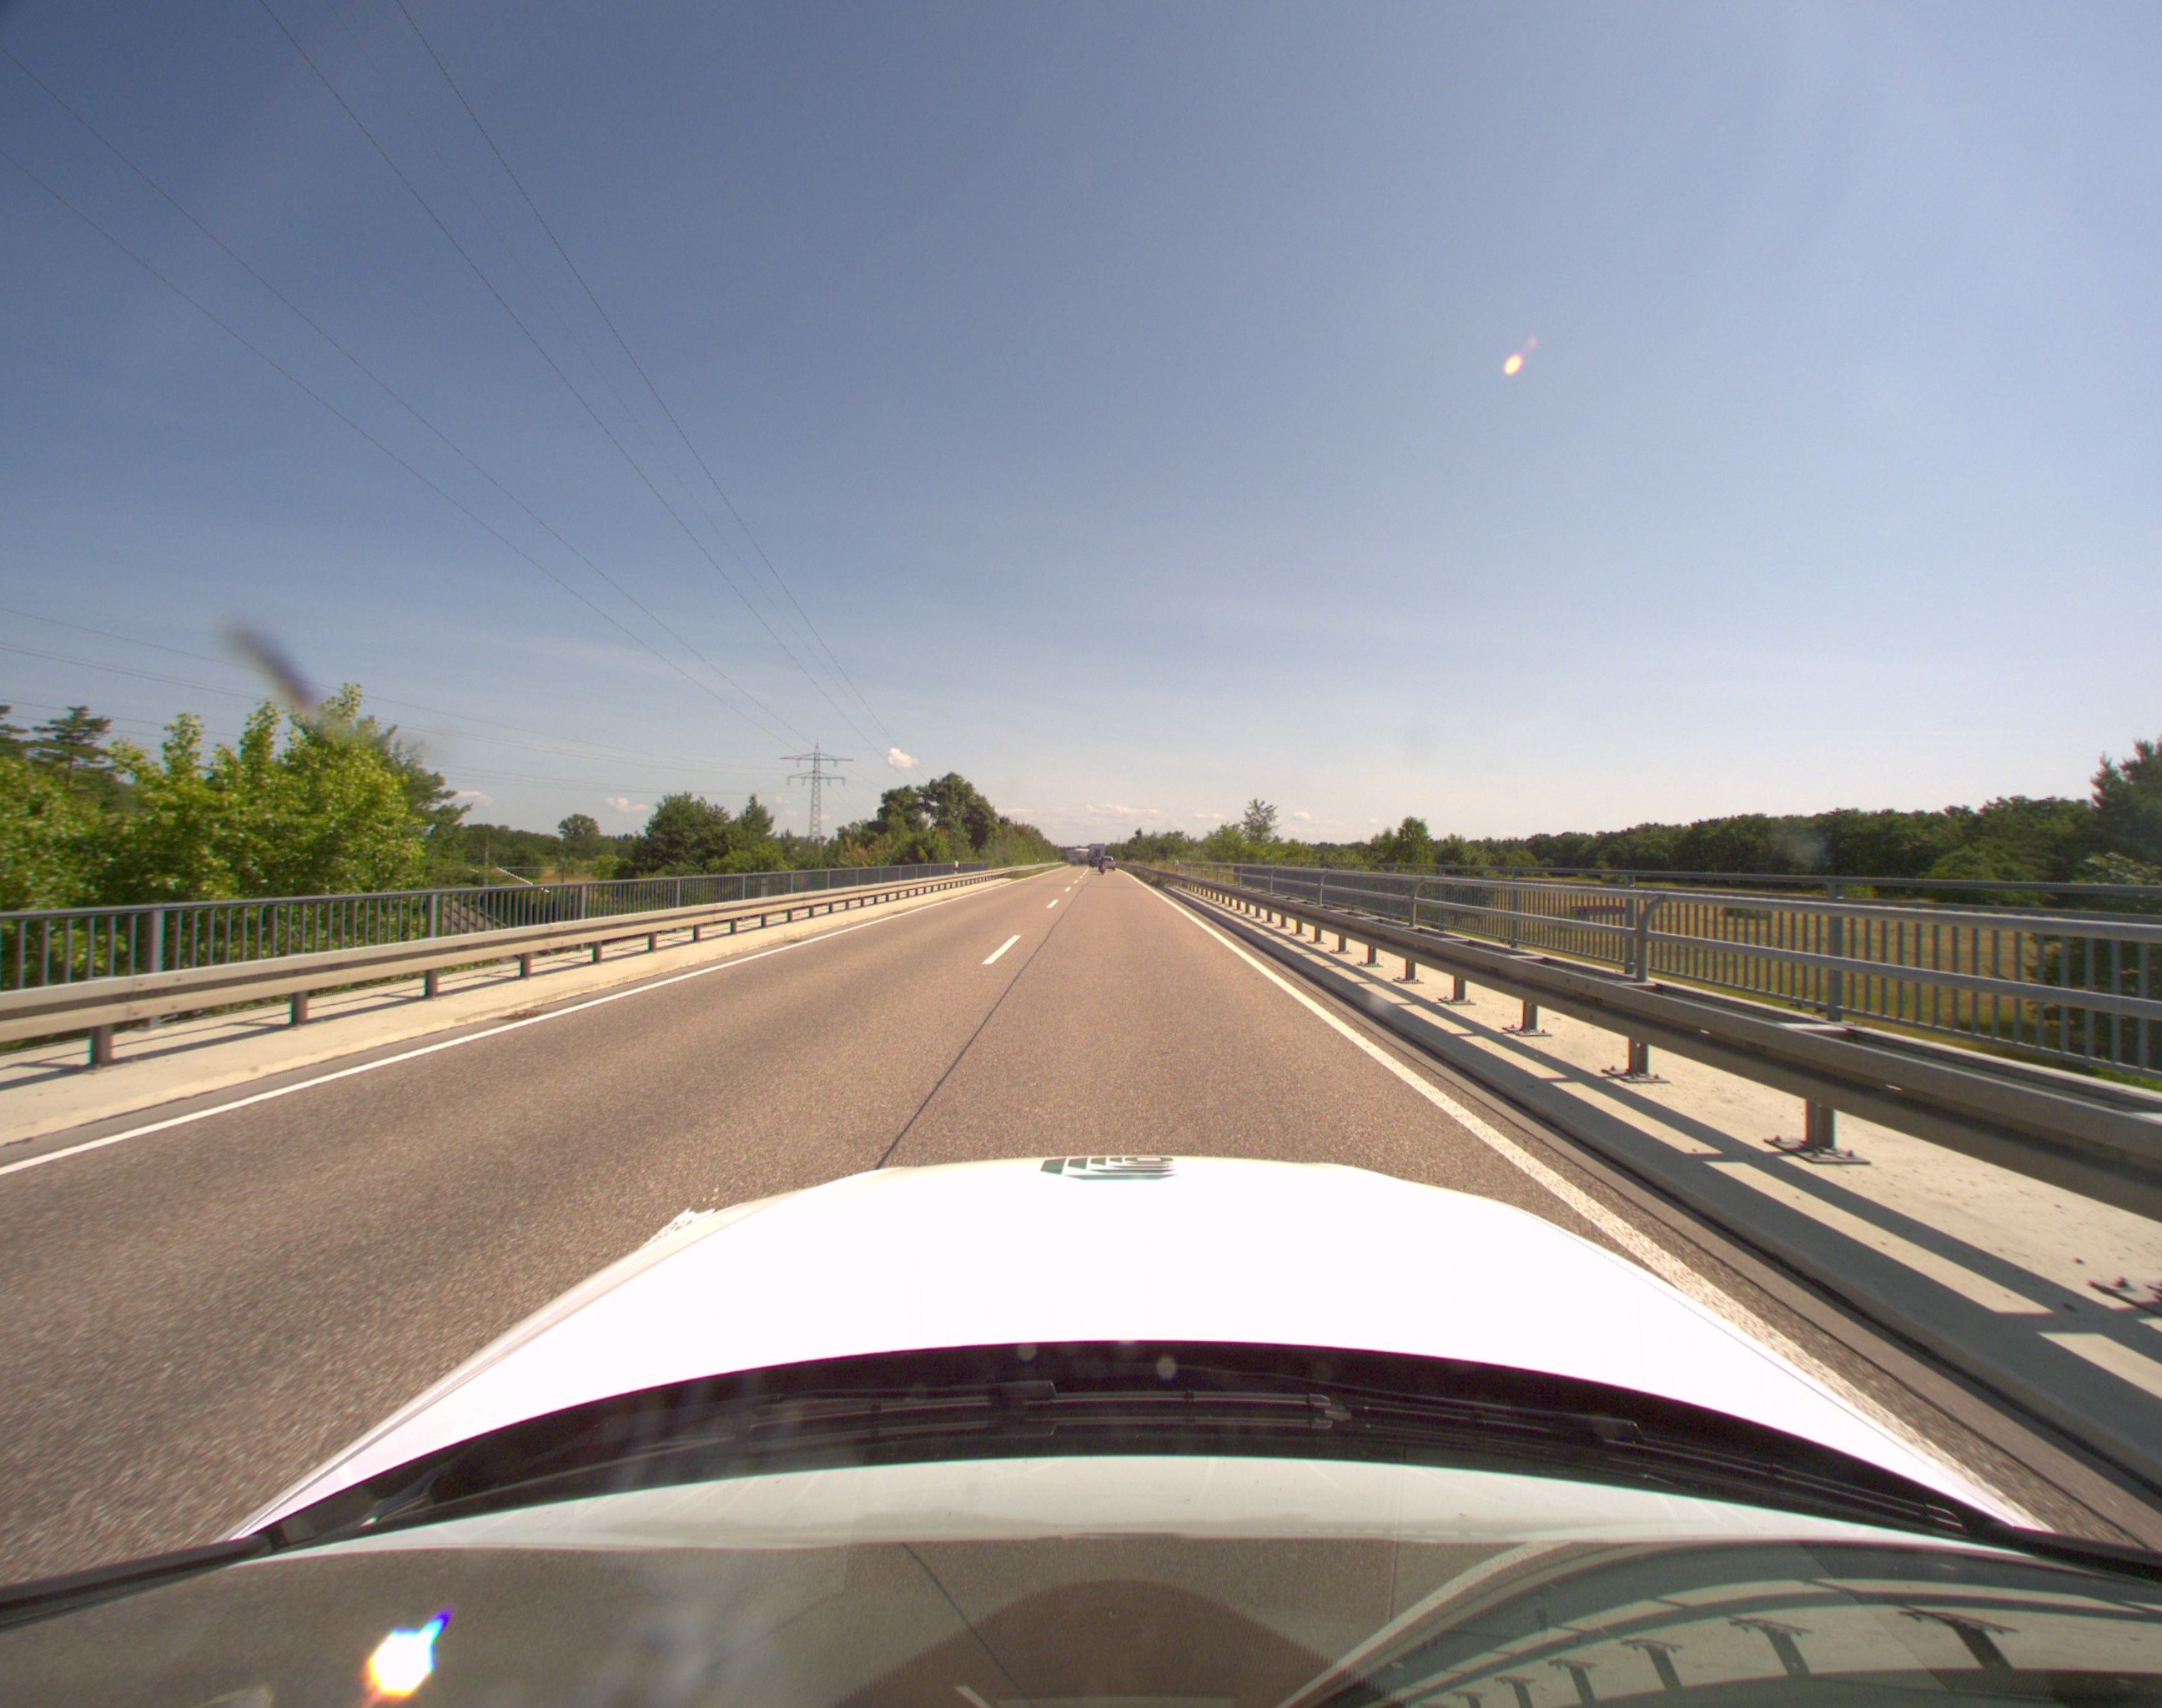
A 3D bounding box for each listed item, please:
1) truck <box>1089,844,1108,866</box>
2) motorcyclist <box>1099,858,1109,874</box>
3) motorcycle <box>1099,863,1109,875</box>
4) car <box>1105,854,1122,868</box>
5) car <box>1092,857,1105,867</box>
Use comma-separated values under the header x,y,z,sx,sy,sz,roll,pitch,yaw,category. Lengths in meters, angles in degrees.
x,y,z,sx,sy,sz,roll,pitch,yaw,category
3.062,0.171,148.042,3.232,3.979,9.441,0,0,0,truck
1.988,1.021,70.093,0.777,1.325,0.814,0,0,3,motorcyclist
1.977,1.302,70.074,0.777,0.975,2.364,0,0,4,motorcycle
3.608,0.754,90.290,1.819,1.451,4.001,0,0,1,car
2.629,1.200,120.806,1.858,1.420,4.004,0,0,3,car
